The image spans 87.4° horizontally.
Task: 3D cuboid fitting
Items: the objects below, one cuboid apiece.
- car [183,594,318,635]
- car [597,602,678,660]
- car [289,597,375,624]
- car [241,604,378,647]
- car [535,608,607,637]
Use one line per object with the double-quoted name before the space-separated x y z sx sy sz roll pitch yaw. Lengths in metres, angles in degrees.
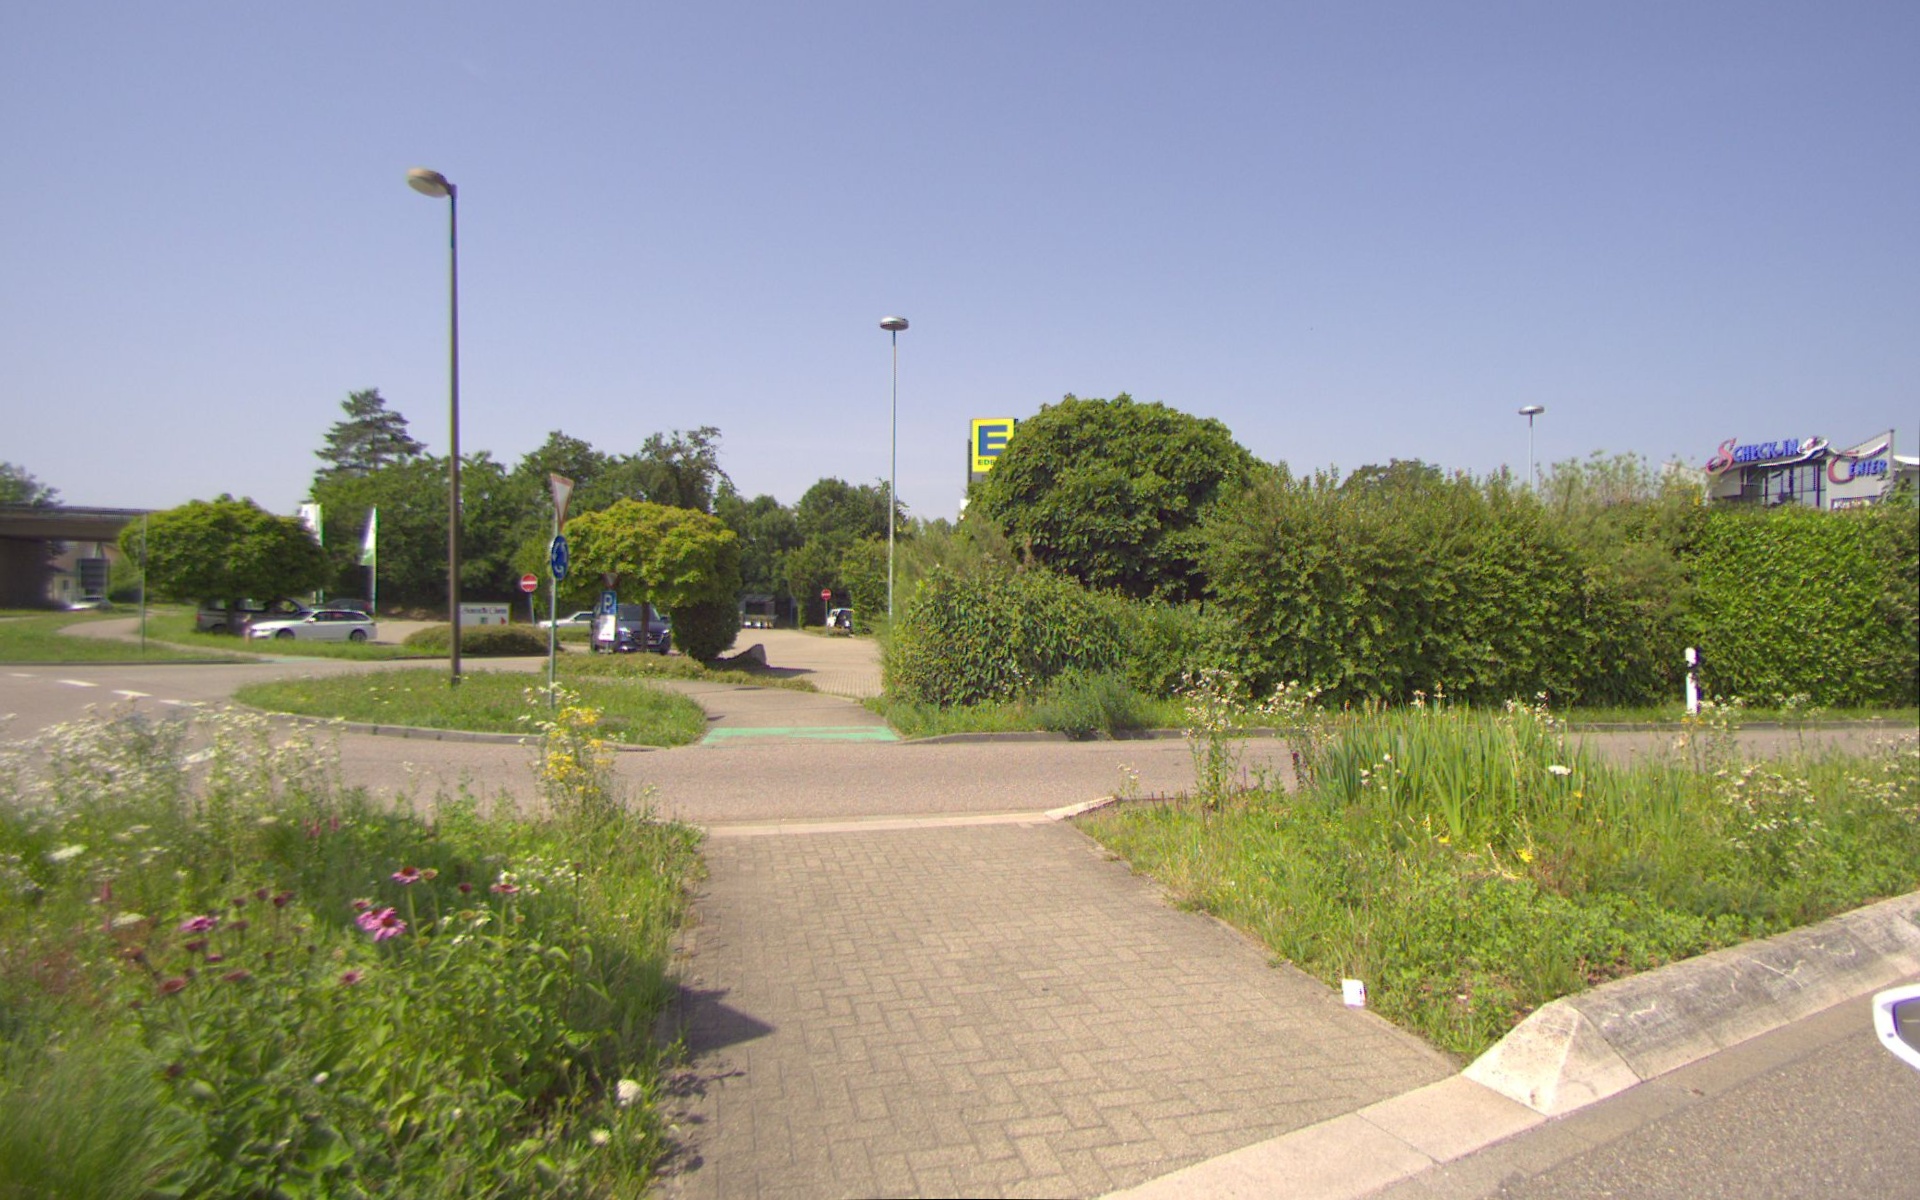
"car" -29.564 0.611 42.033 4.353 1.582 1.862 2 0 -29
"car" -11.579 1.072 35.873 1.976 1.818 3.969 2 0 -29
"car" -41.430 0.680 66.389 4.577 1.674 2.016 1 1 -26
"car" -25.544 0.953 39.656 1.554 1.517 4.567 2 0 17
"car" -20.468 1.170 52.835 3.427 1.398 1.593 2 0 -24
